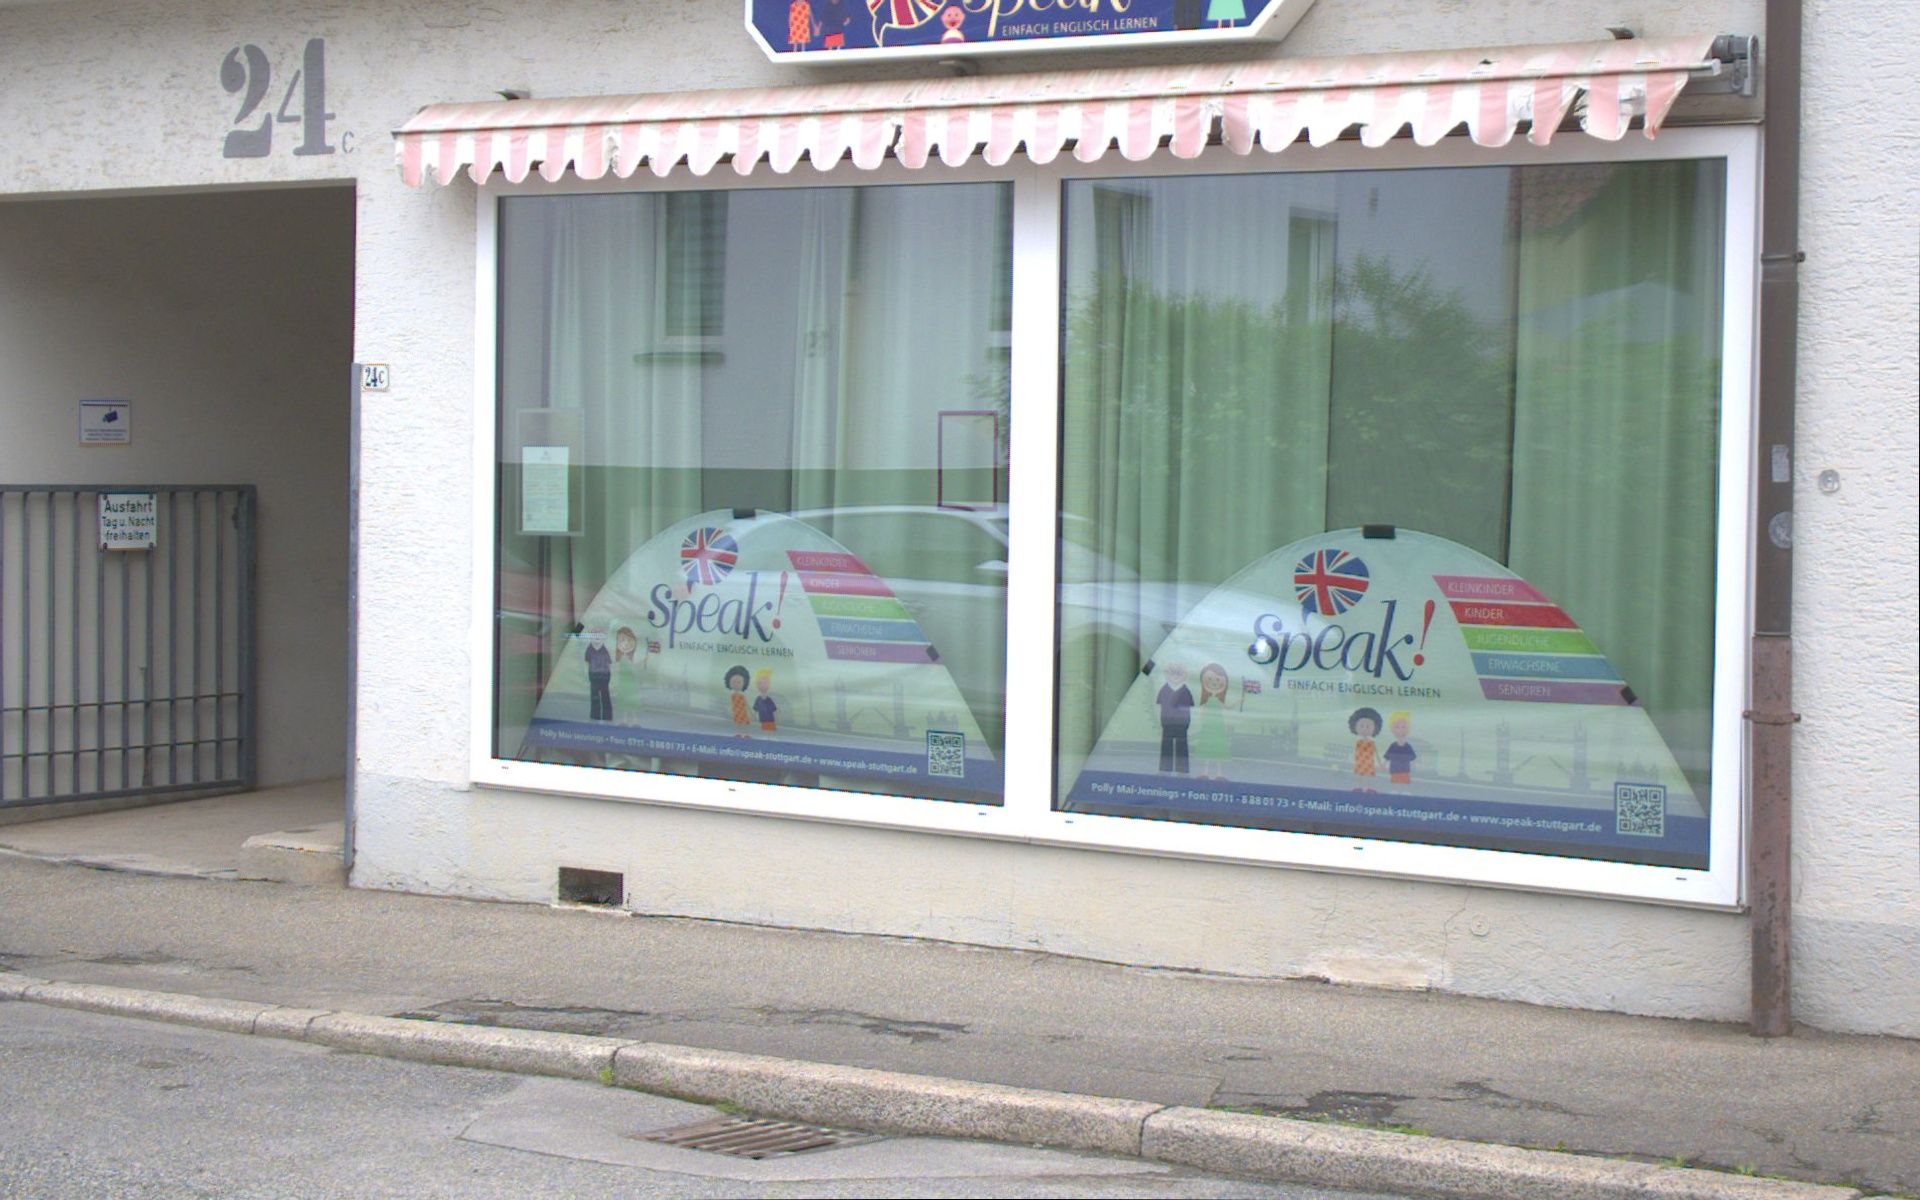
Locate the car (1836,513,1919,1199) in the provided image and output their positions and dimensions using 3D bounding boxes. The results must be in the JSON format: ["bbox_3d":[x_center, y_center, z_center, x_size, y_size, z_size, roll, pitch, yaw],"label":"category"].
[{"bbox_3d":[3.426,0.700,5.211,3.691,1.551,1.694,2,0,36],"label":"car"}]
